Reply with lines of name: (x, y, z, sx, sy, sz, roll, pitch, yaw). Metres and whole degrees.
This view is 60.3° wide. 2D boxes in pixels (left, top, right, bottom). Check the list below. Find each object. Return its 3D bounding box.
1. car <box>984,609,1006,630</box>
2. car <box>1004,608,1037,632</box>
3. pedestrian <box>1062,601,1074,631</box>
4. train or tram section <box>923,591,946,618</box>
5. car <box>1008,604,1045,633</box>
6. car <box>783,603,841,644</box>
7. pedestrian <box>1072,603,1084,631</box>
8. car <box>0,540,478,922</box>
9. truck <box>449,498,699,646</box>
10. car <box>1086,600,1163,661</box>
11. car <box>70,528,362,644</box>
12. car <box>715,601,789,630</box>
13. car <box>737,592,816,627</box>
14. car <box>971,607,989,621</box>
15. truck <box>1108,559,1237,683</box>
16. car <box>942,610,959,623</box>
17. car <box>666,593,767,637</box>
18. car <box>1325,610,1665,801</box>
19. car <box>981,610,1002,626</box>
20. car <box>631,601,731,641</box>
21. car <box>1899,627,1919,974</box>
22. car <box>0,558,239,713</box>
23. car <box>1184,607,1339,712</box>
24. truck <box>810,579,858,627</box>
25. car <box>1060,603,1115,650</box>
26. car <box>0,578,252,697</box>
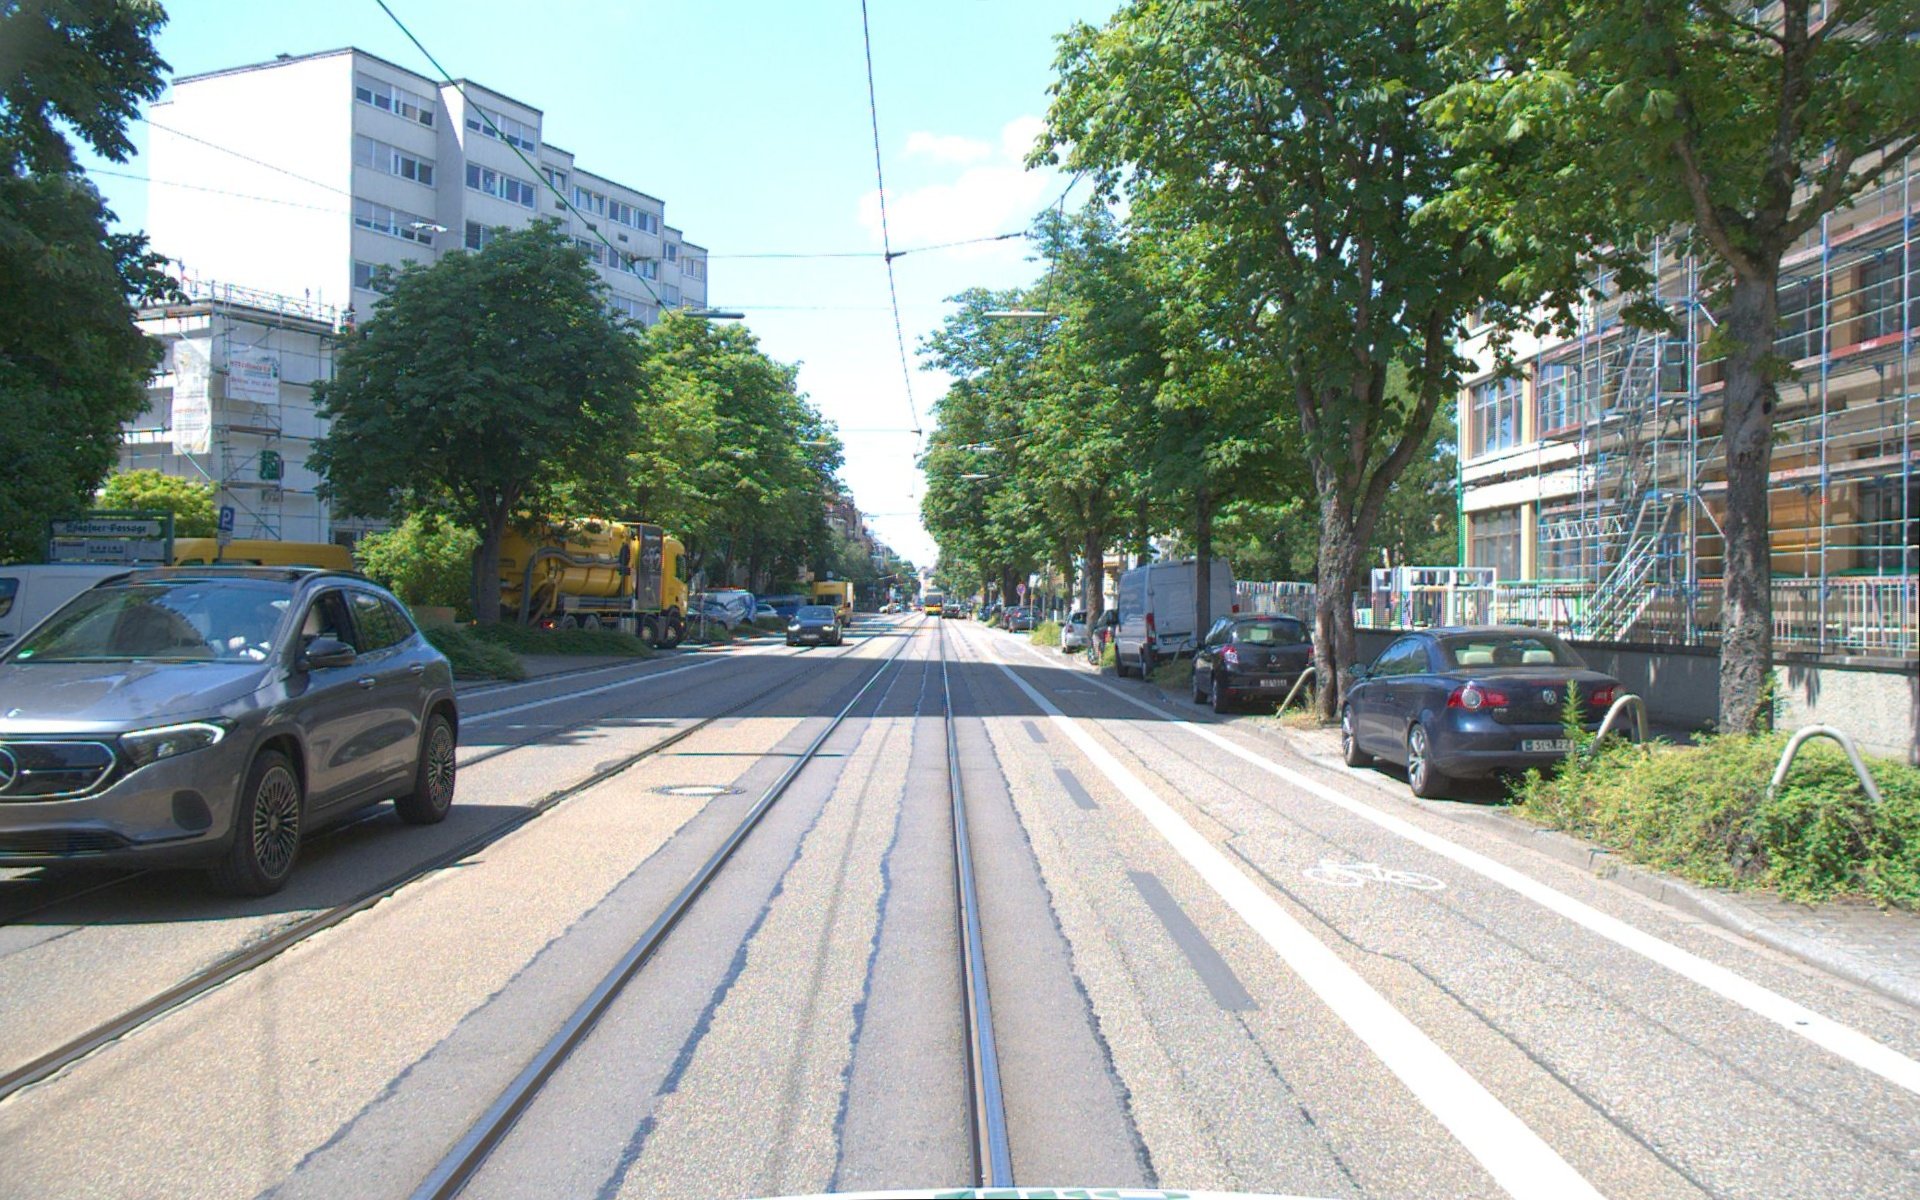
car: (2.740, 1.535, 131.451, 1.560, 1.645, 3.906, 0, -1, -1)
car: (3.748, 1.243, 102.834, 1.838, 1.480, 4.527, 0, -1, 0)
pedestrian: (6.885, 0.994, 105.431, 0.708, 1.892, 0.577, -1, -1, 15)
train or tram section: (-3.422, 0.629, 225.522, 2.973, 3.499, 11.969, 0, 0, 0)
car: (3.606, 1.026, 90.320, 1.606, 1.511, 3.869, 0, -1, -4)
car: (-5.277, 0.811, 59.200, 1.738, 1.422, 4.286, 0, 0, -1)
pedestrian: (7.459, 1.063, 104.747, 0.607, 1.768, 0.477, -2, -1, 29)
car: (-4.252, 0.583, 9.488, 1.793, 1.710, 4.184, 0, 0, -1)
truck: (-11.249, -0.663, 49.871, 2.657, 3.909, 10.972, 2, -1, 13)
car: (4.416, 0.799, 44.766, 1.611, 1.561, 3.946, 0, 0, -1)
car: (-18.431, -0.265, 41.465, 2.137, 2.611, 6.712, 0, -2, 29)
car: (-11.655, 0.859, 92.797, 1.730, 1.458, 3.978, -3, -1, 41)
car: (-11.698, 0.588, 105.547, 4.718, 2.098, 1.997, -1, 0, -40)
car: (2.076, 1.415, 168.922, 1.676, 1.448, 4.308, 0, -1, -1)
truck: (4.643, 0.429, 37.034, 1.973, 2.532, 5.954, 0, 0, -1)
car: (-1.007, 1.759, 176.708, 1.745, 1.369, 3.415, 0, 0, -1)
car: (-11.661, 0.703, 79.412, 1.887, 1.968, 4.729, -2, -1, 41)
car: (4.819, 0.867, 15.603, 1.787, 1.497, 4.486, 0, 0, 0)
car: (2.838, 1.657, 150.690, 1.676, 1.448, 4.308, 0, -1, -1)
car: (-11.140, 0.818, 66.236, 1.731, 1.533, 3.687, -1, 0, 42)
car: (4.926, 0.854, 5.137, 1.637, 1.463, 4.040, 0, 0, -2)
car: (-11.491, 0.411, 20.392, 4.492, 1.822, 1.879, 2, 0, -34)
car: (4.729, 0.881, 26.485, 1.786, 1.497, 4.401, 0, 0, 2)
truck: (-7.913, 0.197, 104.636, 2.312, 2.902, 7.378, -1, 0, 1)
car: (4.344, 0.877, 56.820, 1.610, 1.561, 3.785, 0, 0, 1)
car: (-12.270, 0.505, 23.212, 3.918, 1.559, 1.745, 2, 0, -43)
